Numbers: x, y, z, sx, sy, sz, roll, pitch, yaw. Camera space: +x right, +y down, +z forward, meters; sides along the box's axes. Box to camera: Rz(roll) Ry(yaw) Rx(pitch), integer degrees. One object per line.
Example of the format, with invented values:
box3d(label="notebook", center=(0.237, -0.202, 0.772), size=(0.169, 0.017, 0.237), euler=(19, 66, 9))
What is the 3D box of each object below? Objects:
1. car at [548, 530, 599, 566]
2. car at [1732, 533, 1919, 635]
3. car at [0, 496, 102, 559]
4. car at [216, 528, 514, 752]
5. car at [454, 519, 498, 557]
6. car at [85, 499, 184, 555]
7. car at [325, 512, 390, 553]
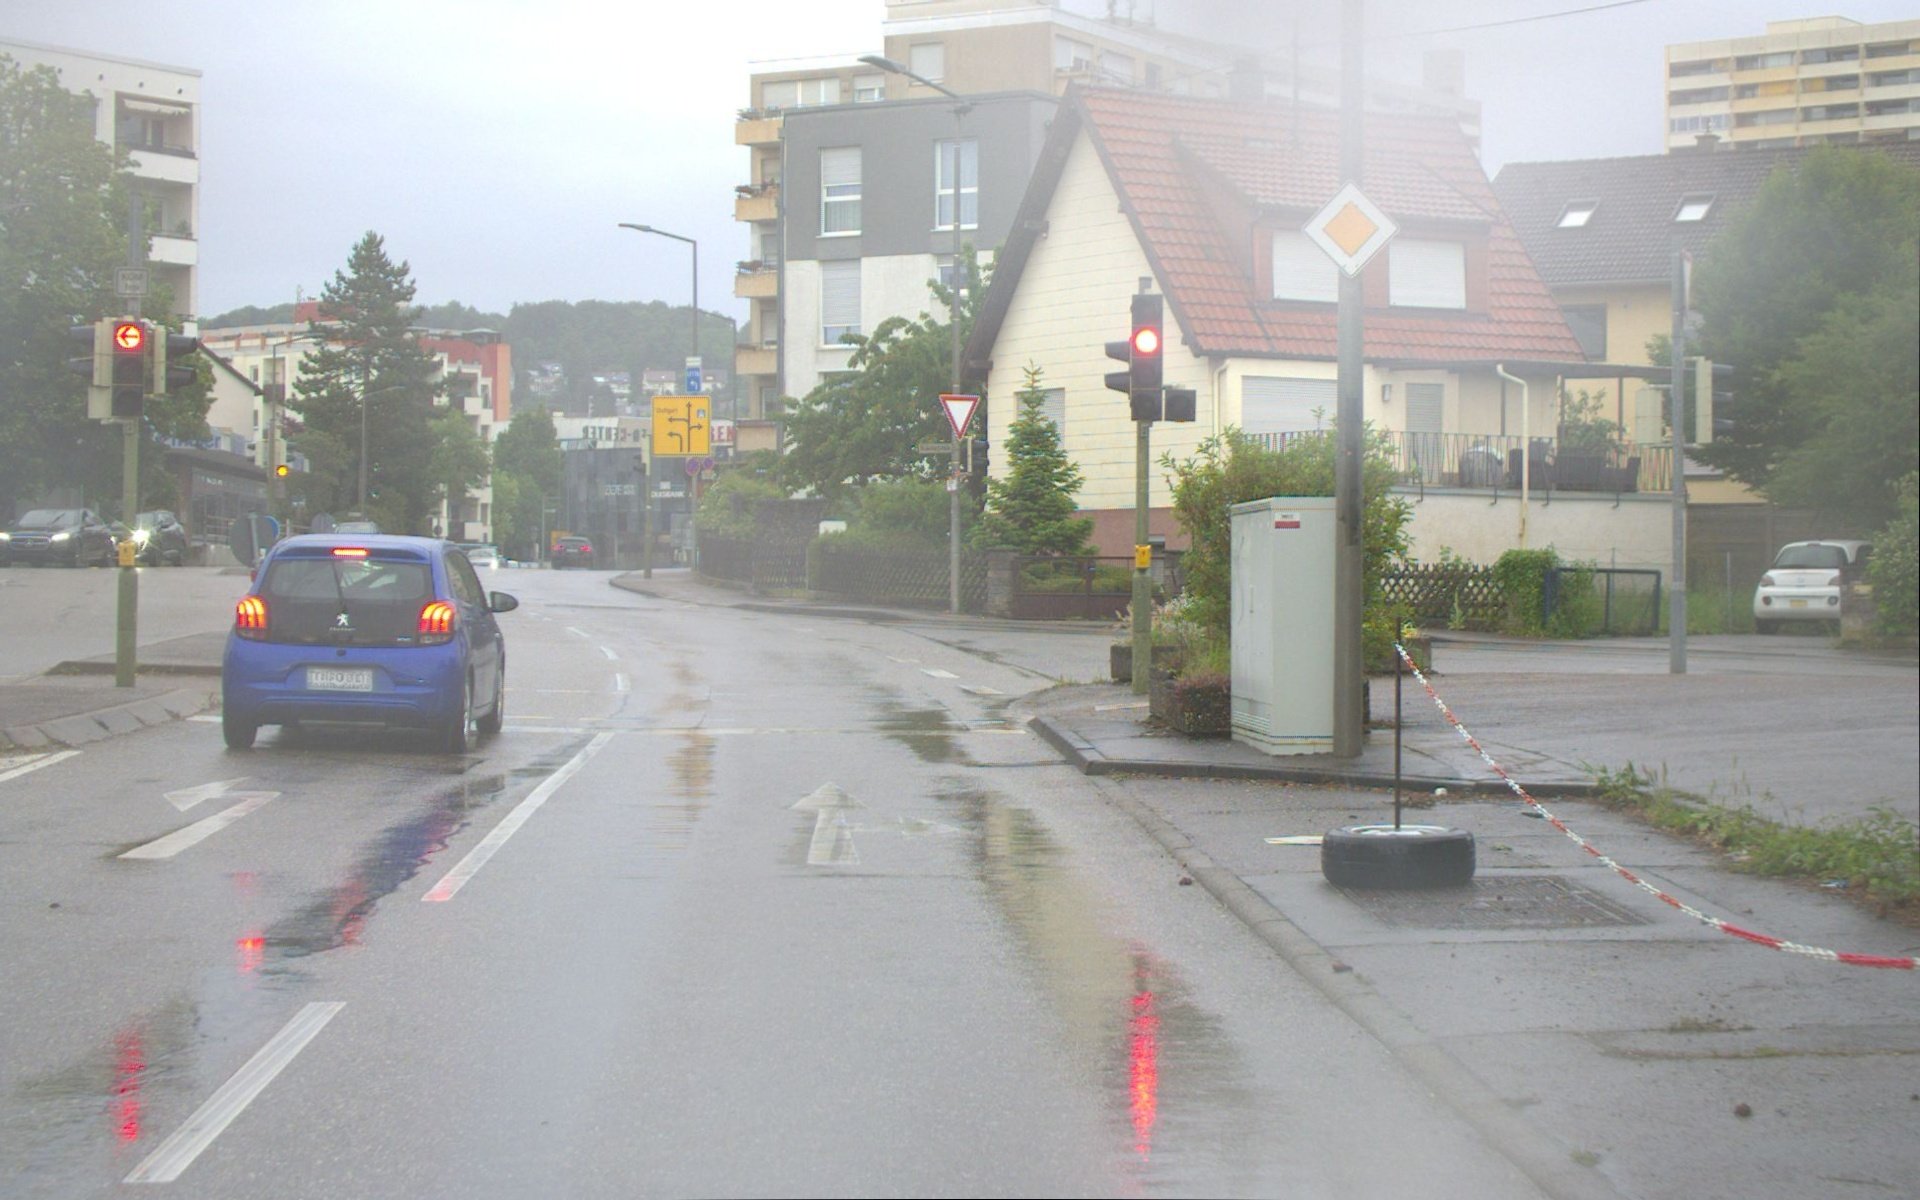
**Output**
box3d(label="car", center=(-16.601, -2.248, 147.698), size=(1.813, 1.481, 4.189), euler=(0, 1, -2))
box3d(label="car", center=(13.706, -0.269, 53.834), size=(1.743, 1.509, 3.992), euler=(2, 2, 35))
box3d(label="car", center=(-21.526, -1.720, 81.034), size=(1.778, 1.415, 3.831), euler=(1, 1, -3))
box3d(label="car", center=(-4.049, 0.226, 23.805), size=(1.578, 1.406, 3.270), euler=(1, 1, -2))
box3d(label="car", center=(-24.287, -3.123, 172.703), size=(1.755, 1.809, 3.862), euler=(1, 1, -2))
box3d(label="car", center=(-21.197, -1.893, 88.374), size=(1.715, 1.382, 4.021), euler=(1, 1, -3))
box3d(label="car", center=(-21.340, -2.398, 121.869), size=(1.778, 1.415, 3.831), euler=(1, 1, -3))
